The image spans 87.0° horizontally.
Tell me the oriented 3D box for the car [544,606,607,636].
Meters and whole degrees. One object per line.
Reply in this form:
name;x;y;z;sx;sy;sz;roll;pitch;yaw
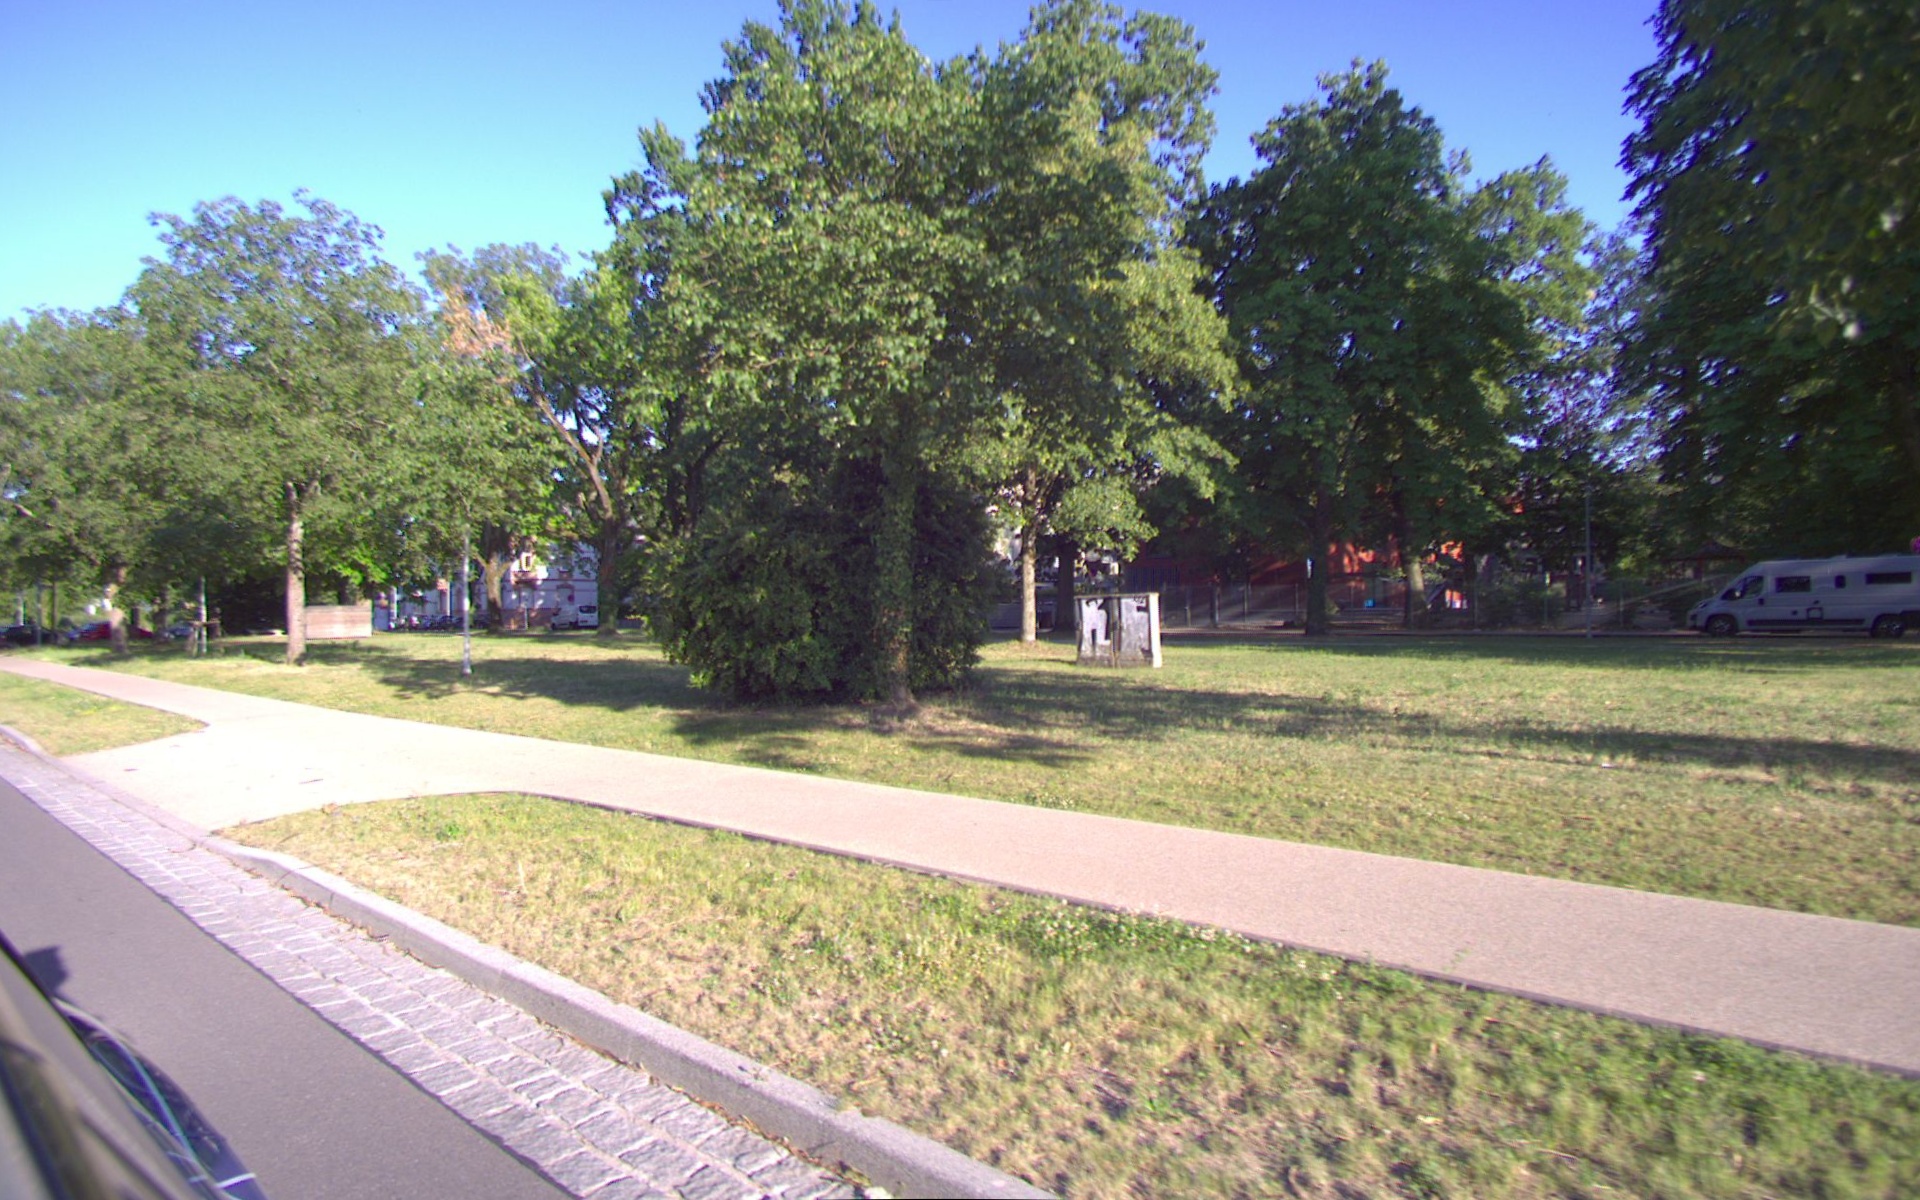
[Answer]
car;-29.191;1.612;76.799;2.639;2.130;4.972;-1;0;-45

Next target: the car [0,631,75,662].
car;-54.346;2.697;58.837;1.874;1.586;3.979;0;0;16

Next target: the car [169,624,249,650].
car;-50.820;2.458;68.571;1.877;1.586;3.973;0;0;20

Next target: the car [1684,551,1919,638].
car;26.614;-0.113;31.626;6.313;2.482;2.693;-1;-1;40

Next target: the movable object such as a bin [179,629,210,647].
movable object such as a bin;-44.107;2.181;58.306;0.950;0.997;1.314;-1;-1;43

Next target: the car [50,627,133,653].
car;-57.632;2.620;67.201;1.824;1.643;3.825;-1;-1;17

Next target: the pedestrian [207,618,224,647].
pedestrian;-43.416;1.897;59.027;0.672;1.708;0.655;-2;-1;43

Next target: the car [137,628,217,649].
car;-55.908;2.722;72.317;1.825;1.411;4.250;-1;-1;19

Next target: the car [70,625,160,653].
car;-52.763;2.409;63.265;1.874;1.586;3.979;0;0;16
